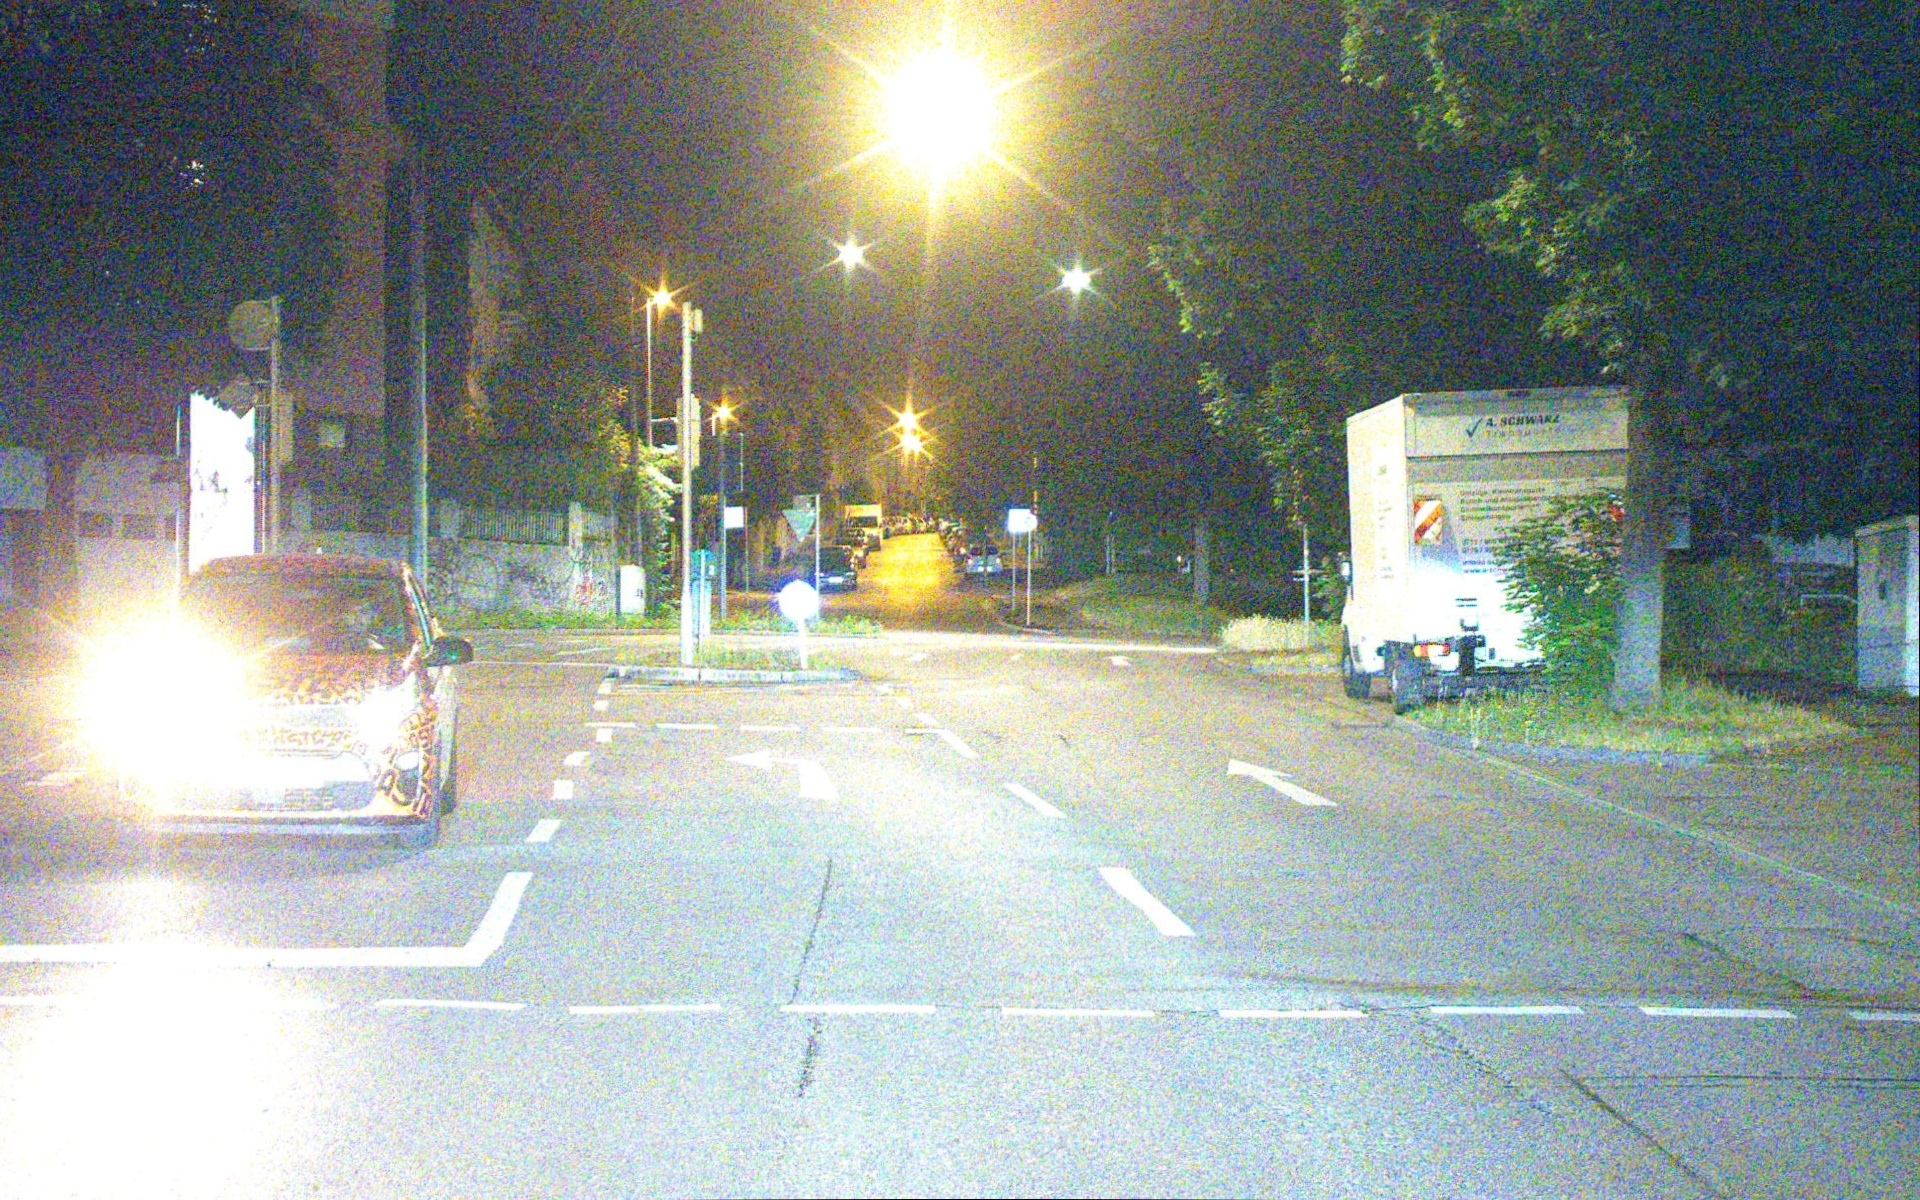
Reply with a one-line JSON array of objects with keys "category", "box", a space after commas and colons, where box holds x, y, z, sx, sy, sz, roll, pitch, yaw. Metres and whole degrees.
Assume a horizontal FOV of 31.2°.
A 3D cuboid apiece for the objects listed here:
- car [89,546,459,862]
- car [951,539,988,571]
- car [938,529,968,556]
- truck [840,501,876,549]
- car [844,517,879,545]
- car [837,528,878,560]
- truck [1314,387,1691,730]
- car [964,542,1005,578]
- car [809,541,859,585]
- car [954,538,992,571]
[{"category": "car", "box": [-3.539, 0.476, 18.209, 1.581, 1.496, 3.397, 1, 1, -6]}, {"category": "car", "box": [0.444, -2.086, 159.271, 1.634, 1.447, 3.485, 1, 1, -1]}, {"category": "car", "box": [-0.384, -3.196, 191.475, 1.634, 1.447, 3.485, 1, 1, -1]}, {"category": "truck", "box": [-6.226, -4.545, 209.571, 2.086, 2.838, 5.832, 1, 1, -2]}, {"category": "car", "box": [-5.380, -3.738, 186.941, 1.815, 1.486, 4.000, 1, 1, -2]}, {"category": "car", "box": [-4.799, -2.616, 160.560, 1.815, 1.486, 4.000, 1, 1, -2]}, {"category": "truck", "box": [5.293, -0.430, 34.620, 2.749, 3.100, 6.258, 1, 1, 0]}, {"category": "car", "box": [1.020, -1.677, 143.353, 1.634, 1.447, 3.485, 1, 1, -1]}, {"category": "car", "box": [-4.905, -1.461, 134.439, 1.815, 1.678, 4.000, 1, 1, -1]}, {"category": "car", "box": [0.580, -2.035, 153.086, 1.634, 1.447, 3.485, 1, 1, -1]}]
